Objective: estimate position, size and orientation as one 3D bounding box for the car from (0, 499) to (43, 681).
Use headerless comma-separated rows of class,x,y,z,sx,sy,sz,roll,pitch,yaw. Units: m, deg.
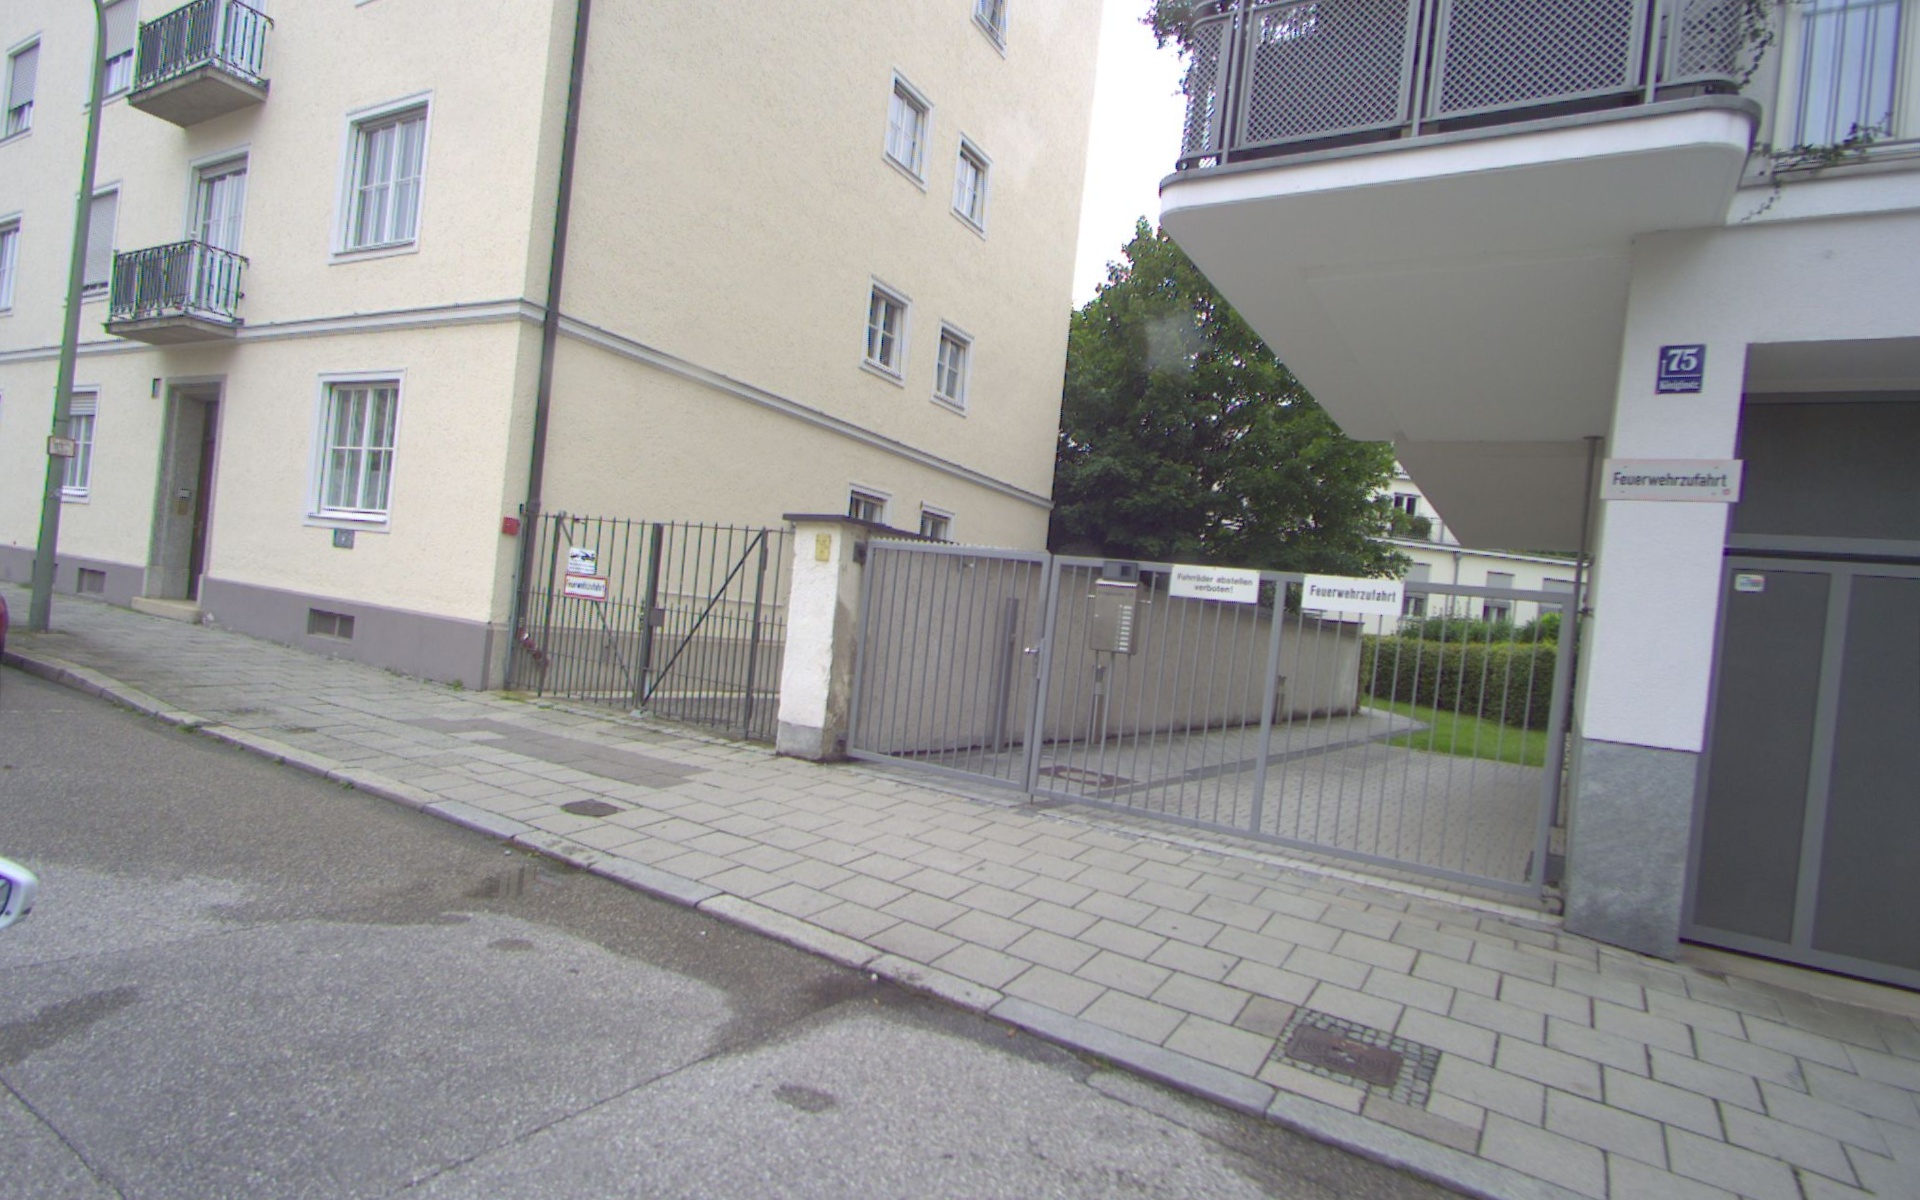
car,-9.889,-0.293,8.749,3.759,1.516,1.682,6,-1,30
